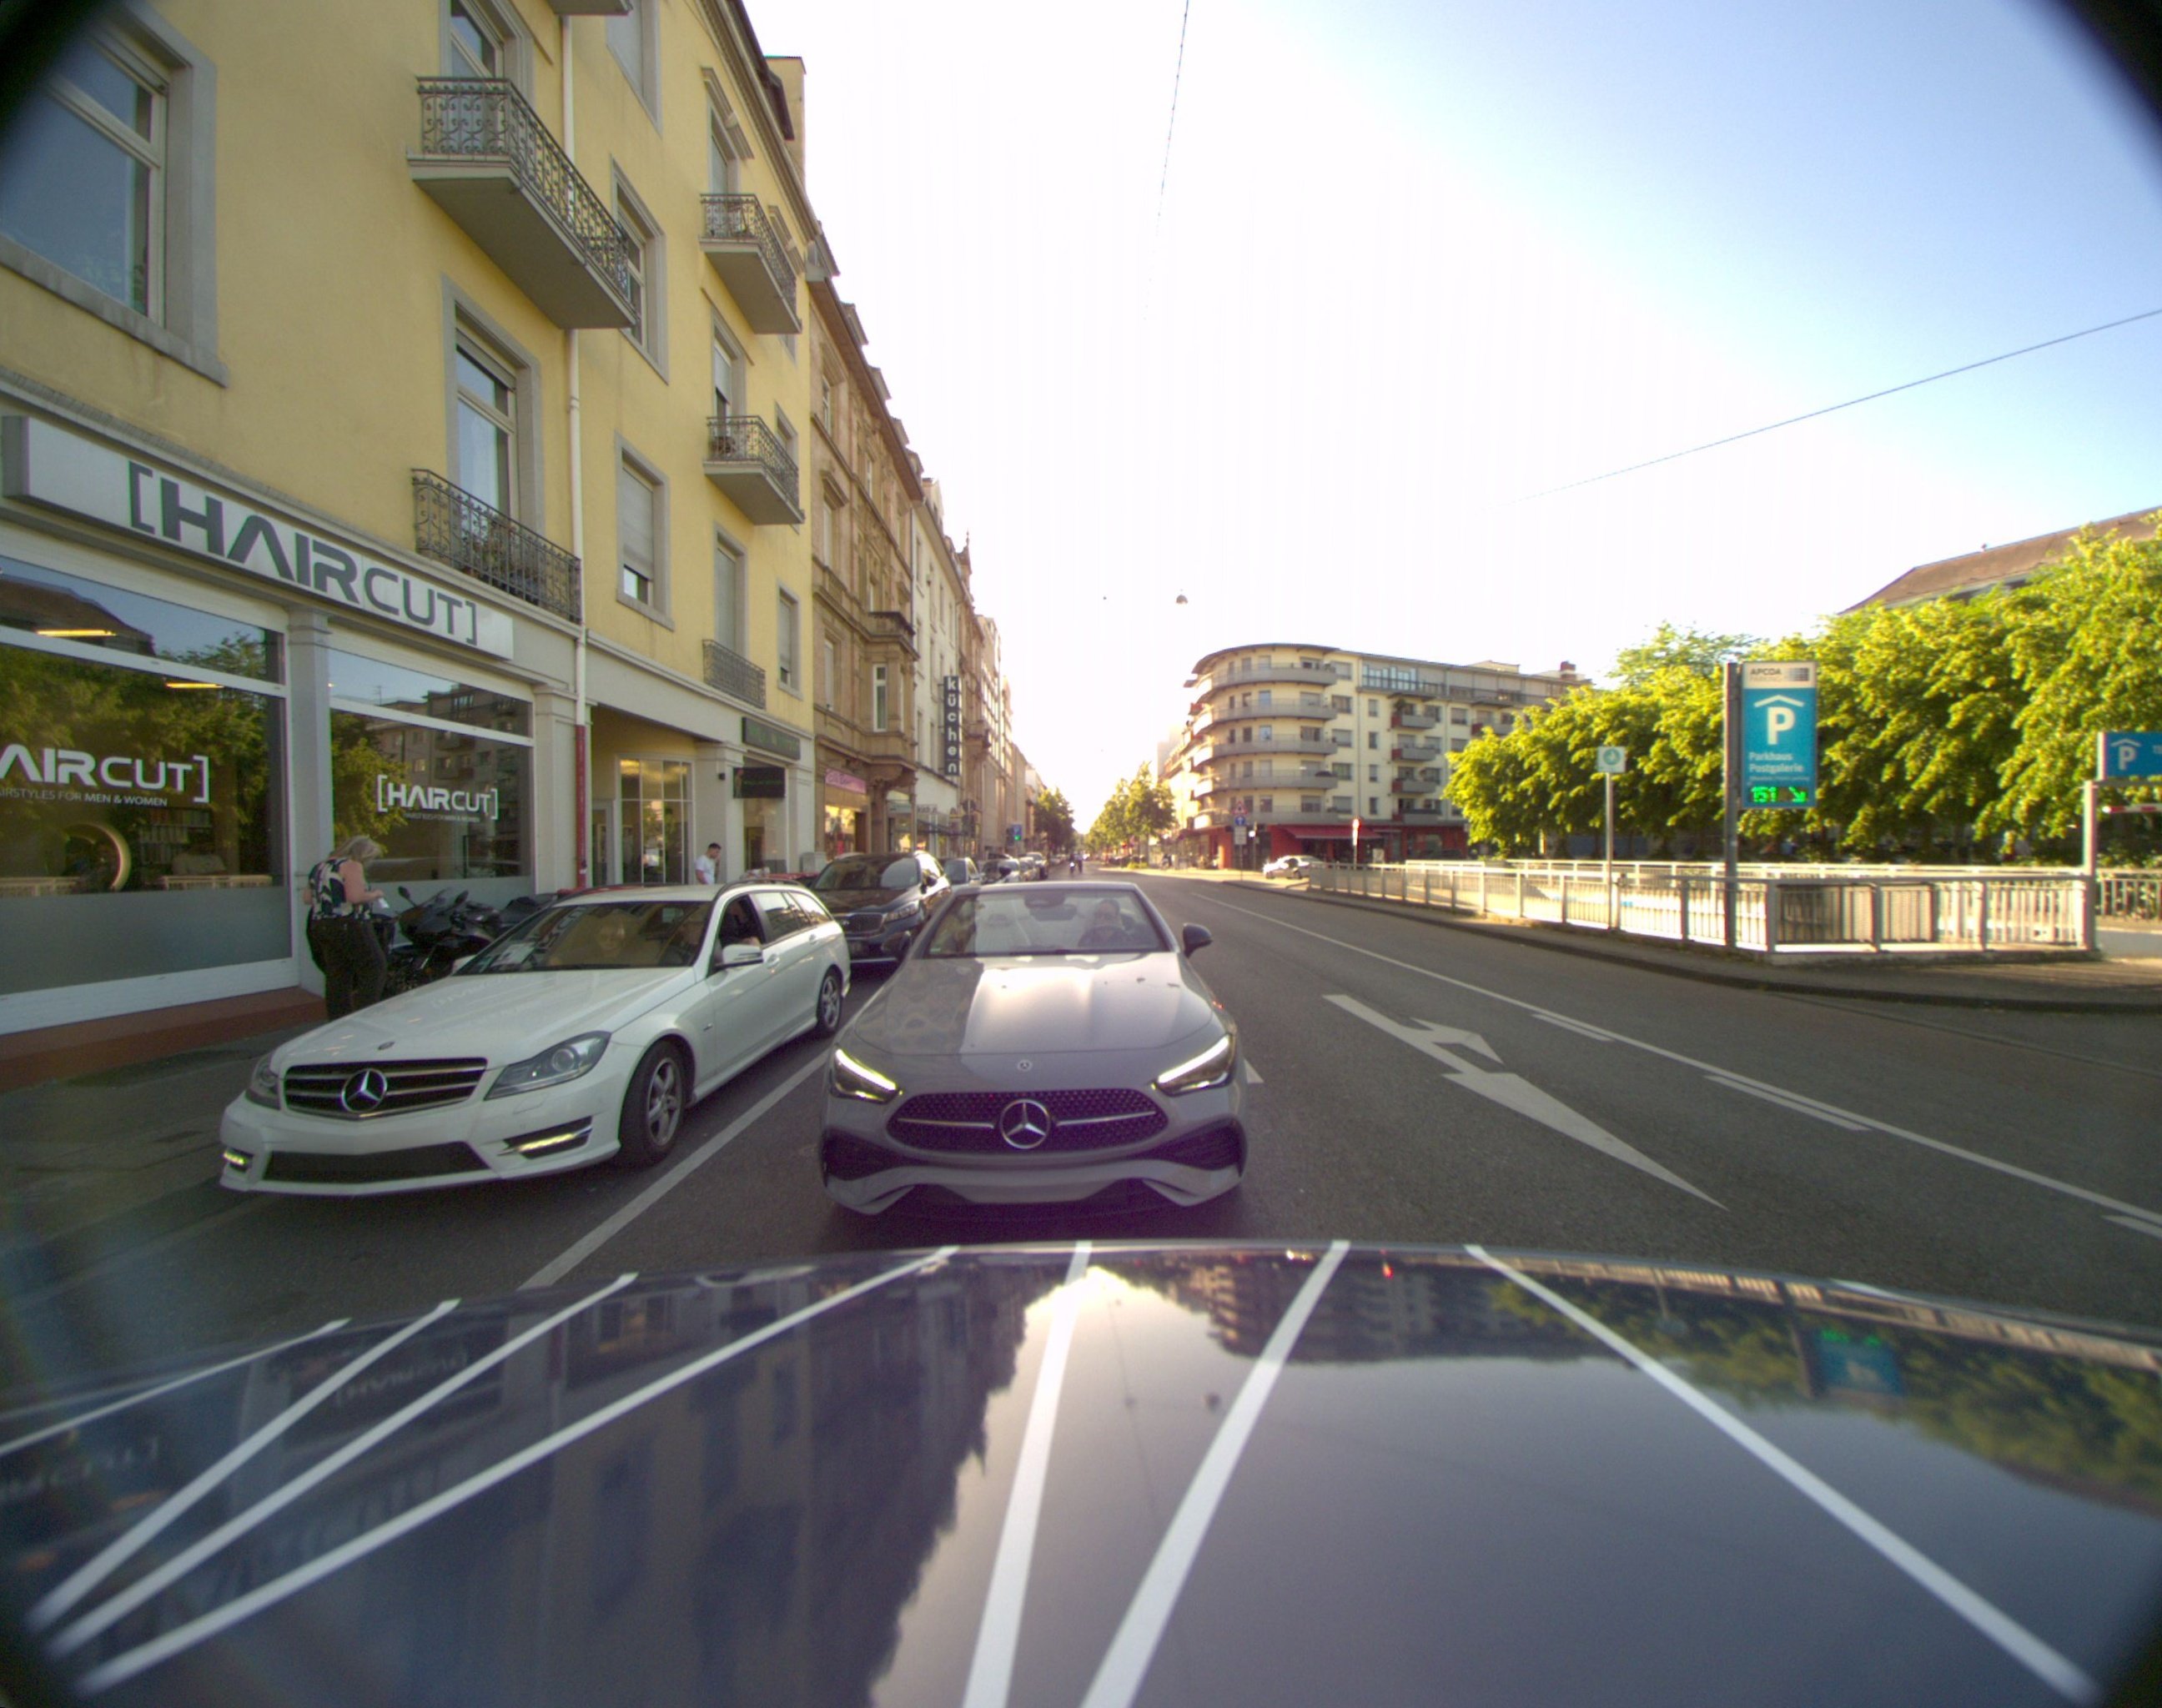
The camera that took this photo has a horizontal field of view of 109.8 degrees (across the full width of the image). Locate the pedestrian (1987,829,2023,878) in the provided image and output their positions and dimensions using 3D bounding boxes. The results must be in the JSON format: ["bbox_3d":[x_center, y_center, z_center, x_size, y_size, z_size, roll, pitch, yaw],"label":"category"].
[{"bbox_3d":[32.785,-0.027,26.956,0.647,1.711,0.607,-3,1,-19],"label":"pedestrian"}]

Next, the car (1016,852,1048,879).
[{"bbox_3d":[-3.052,0.694,47.762,1.725,1.506,4.004,-2,1,-1],"label":"car"}]

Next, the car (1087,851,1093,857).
[{"bbox_3d":[2.345,-0.096,195.004,1.615,1.534,3.931,-1,0,1],"label":"car"}]

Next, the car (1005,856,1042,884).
[{"bbox_3d":[-3.058,0.840,40.862,1.725,1.332,3.668,-2,1,-1],"label":"car"}]

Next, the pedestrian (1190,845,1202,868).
[{"bbox_3d":[10.283,0.182,67.939,0.860,2.002,0.889,-2,1,0],"label":"pedestrian"}]

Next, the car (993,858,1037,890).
[{"bbox_3d":[-3.159,0.929,36.842,1.802,1.332,3.838,-2,1,-1],"label":"car"}]

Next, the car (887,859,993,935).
[{"bbox_3d":[-3.304,0.941,18.572,1.802,1.518,4.085,-2,1,-1],"label":"car"}]

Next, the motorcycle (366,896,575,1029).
[{"bbox_3d":[-6.214,1.040,7.895,0.567,1.072,1.954,2,1,1],"label":"motorcycle"}]

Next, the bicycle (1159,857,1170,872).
[{"bbox_3d":[6.863,0.861,62.345,0.527,1.163,1.592,-2,1,-7],"label":"bicycle"}]

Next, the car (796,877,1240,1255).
[{"bbox_3d":[-0.254,0.952,5.172,1.802,1.351,3.999,-2,1,0],"label":"car"}]

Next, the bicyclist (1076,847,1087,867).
[{"bbox_3d":[0.035,0.231,64.743,0.885,1.625,0.768,-2,1,-1],"label":"bicyclist"}]

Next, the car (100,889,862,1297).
[{"bbox_3d":[-3.055,1.074,5.265,1.704,1.351,4.378,-2,1,1],"label":"car"}]

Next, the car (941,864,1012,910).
[{"bbox_3d":[-3.385,1.030,25.383,1.802,1.259,4.085,-2,1,-1],"label":"car"}]

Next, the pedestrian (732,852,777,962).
[{"bbox_3d":[-5.713,0.906,13.304,0.576,1.840,0.663,-3,1,-30],"label":"pedestrian"}]

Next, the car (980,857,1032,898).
[{"bbox_3d":[-2.961,0.885,30.711,1.660,1.423,4.085,-2,1,-1],"label":"car"}]

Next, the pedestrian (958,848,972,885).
[{"bbox_3d":[-5.977,0.630,39.160,0.574,1.840,0.665,-2,1,1],"label":"pedestrian"}]

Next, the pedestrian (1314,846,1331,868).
[{"bbox_3d":[18.336,0.239,57.754,0.863,1.586,0.887,-3,1,-38],"label":"pedestrian"}]

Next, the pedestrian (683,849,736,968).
[{"bbox_3d":[-6.345,0.912,12.999,0.373,1.971,0.695,0,1,23],"label":"pedestrian"}]

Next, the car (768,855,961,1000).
[{"bbox_3d":[-2.952,0.894,11.329,1.803,1.629,4.243,-2,1,-3],"label":"car"}]

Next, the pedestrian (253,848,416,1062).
[{"bbox_3d":[-6.043,0.782,6.185,0.719,1.644,0.606,1,1,1],"label":"pedestrian"}]

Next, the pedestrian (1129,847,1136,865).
[{"bbox_3d":[6.144,0.229,90.552,0.792,2.002,0.889,-2,1,1],"label":"pedestrian"}]

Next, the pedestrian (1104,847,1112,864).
[{"bbox_3d":[3.234,0.187,91.407,0.860,2.002,0.889,-2,1,1],"label":"pedestrian"}]

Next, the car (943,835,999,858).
[{"bbox_3d":[-8.314,-0.585,57.517,4.001,1.543,1.855,-2,1,-14],"label":"car"}]

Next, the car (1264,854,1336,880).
[{"bbox_3d":[12.898,0.732,45.052,1.827,1.346,4.256,0,1,-22],"label":"car"}]

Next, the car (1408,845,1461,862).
[{"bbox_3d":[29.036,-0.050,62.427,4.004,1.294,1.753,-2,1,-23],"label":"car"}]

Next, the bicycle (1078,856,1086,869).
[{"bbox_3d":[0.083,0.716,64.673,0.641,1.078,2.061,-1,0,-1],"label":"bicycle"}]

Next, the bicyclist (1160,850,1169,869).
[{"bbox_3d":[6.855,0.470,62.293,0.525,1.539,0.798,-2,1,-7],"label":"bicyclist"}]

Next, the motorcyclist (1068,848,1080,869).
[{"bbox_3d":[-0.498,0.315,52.846,0.722,1.438,0.705,-2,1,2],"label":"motorcyclist"}]

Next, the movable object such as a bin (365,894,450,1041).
[{"bbox_3d":[-5.926,0.984,6.698,0.391,1.231,0.394,1,1,1],"label":"movable object such as a bin"}]

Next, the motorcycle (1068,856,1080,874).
[{"bbox_3d":[-0.481,0.769,52.898,0.720,1.177,1.906,-2,1,2],"label":"motorcycle"}]
